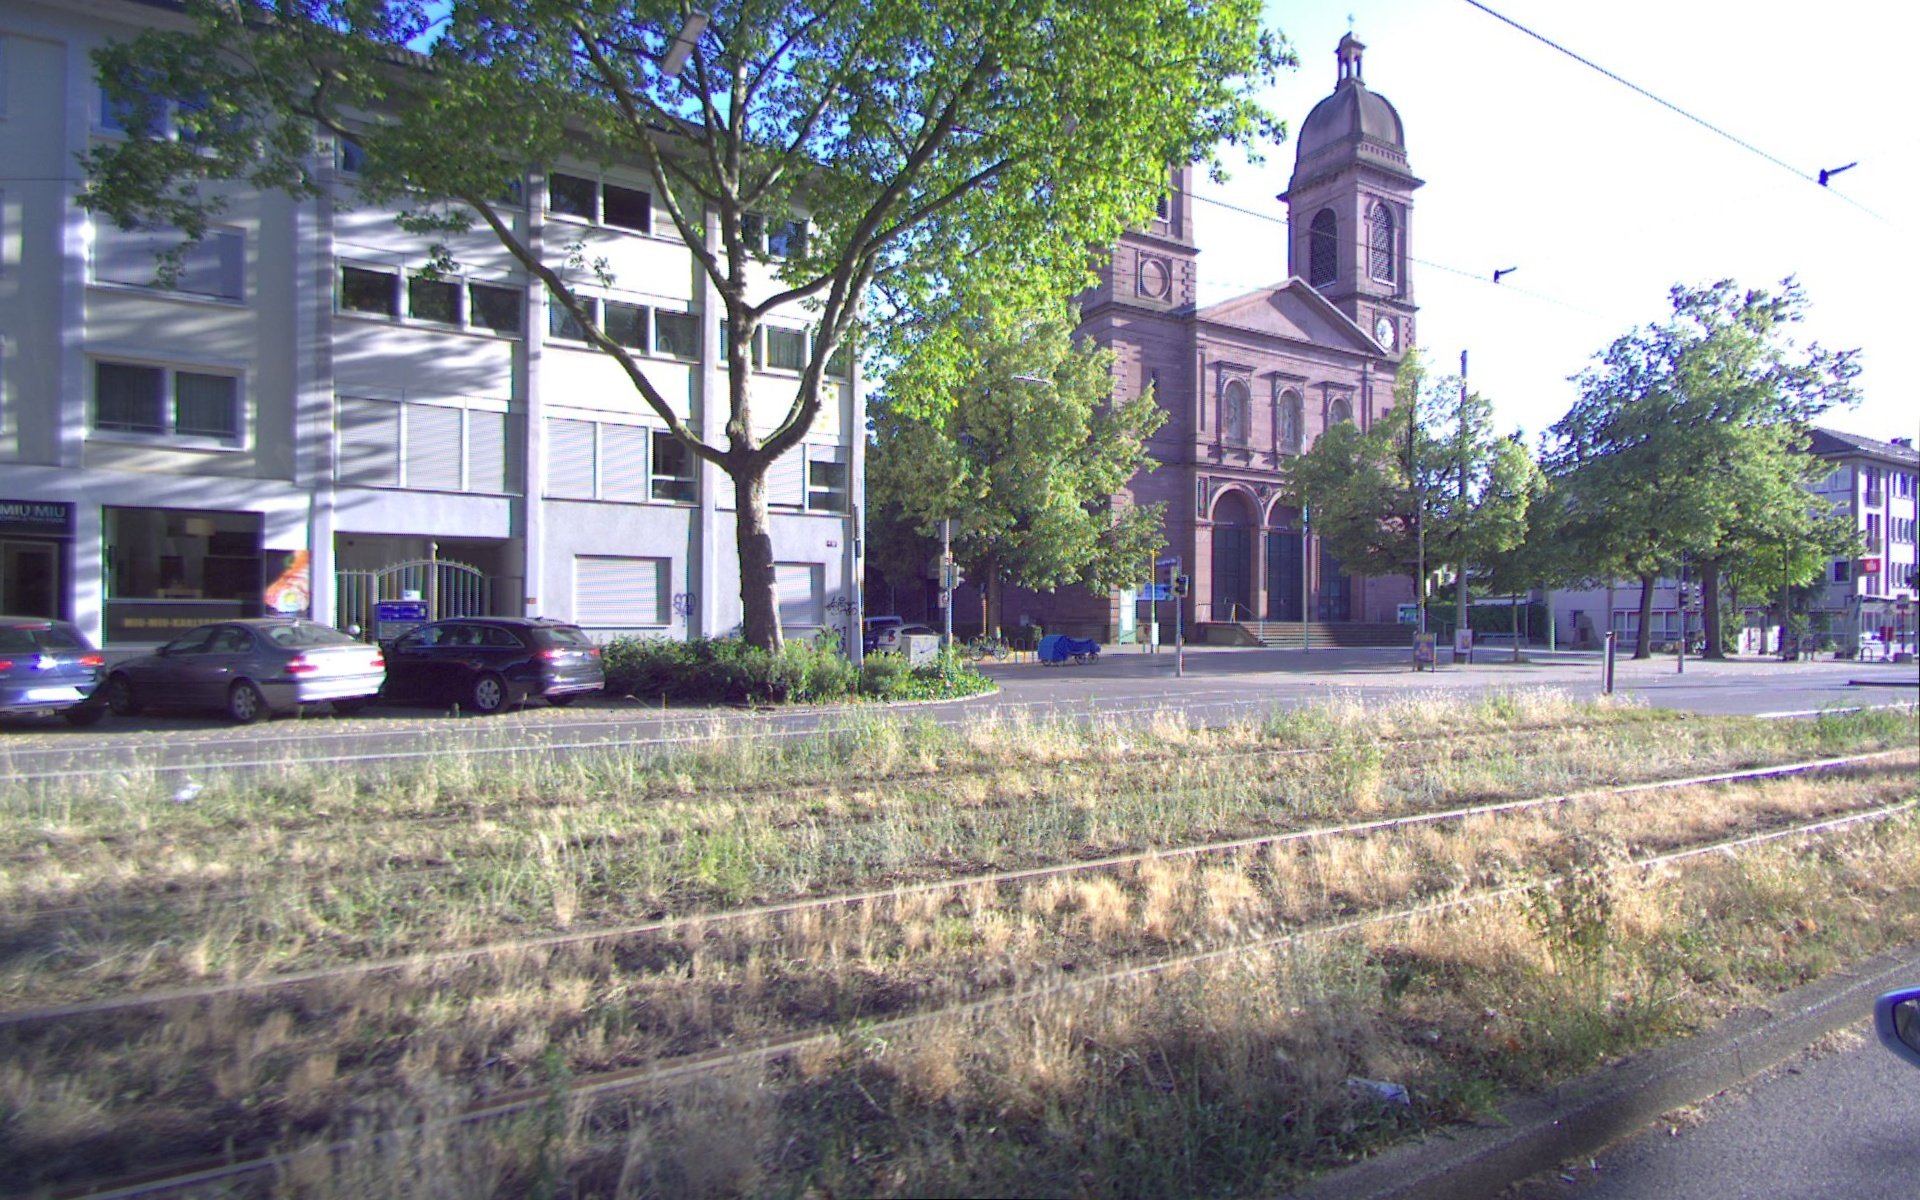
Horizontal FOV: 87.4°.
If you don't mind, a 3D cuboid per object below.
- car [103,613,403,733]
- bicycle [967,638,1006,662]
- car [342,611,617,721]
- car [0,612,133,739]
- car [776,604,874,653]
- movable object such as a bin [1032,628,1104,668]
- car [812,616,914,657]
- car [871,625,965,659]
[{"bbox_3d":[-10.558,1.002,15.029,3.921,1.460,1.722,2,1,20],"label":"car"},{"bbox_3d":[1.083,2.023,40.727,1.517,0.905,0.465,1,1,-26],"label":"bicycle"},{"bbox_3d":[-7.929,1.016,16.638,3.920,1.499,1.818,2,1,18],"label":"car"},{"bbox_3d":[-13.556,0.928,13.590,3.920,1.460,1.802,2,1,18],"label":"car"},{"bbox_3d":[-7.898,1.675,59.003,5.380,2.710,1.980,1,1,-35],"label":"car"},{"bbox_3d":[3.932,1.725,36.432,2.416,1.228,1.102,-3,3,-29],"label":"movable object such as a bin"},{"bbox_3d":[-5.192,1.929,54.172,5.119,2.040,1.982,1,1,-33],"label":"car"},{"bbox_3d":[-1.987,1.982,47.631,3.952,1.479,1.984,1,1,-30],"label":"car"}]
